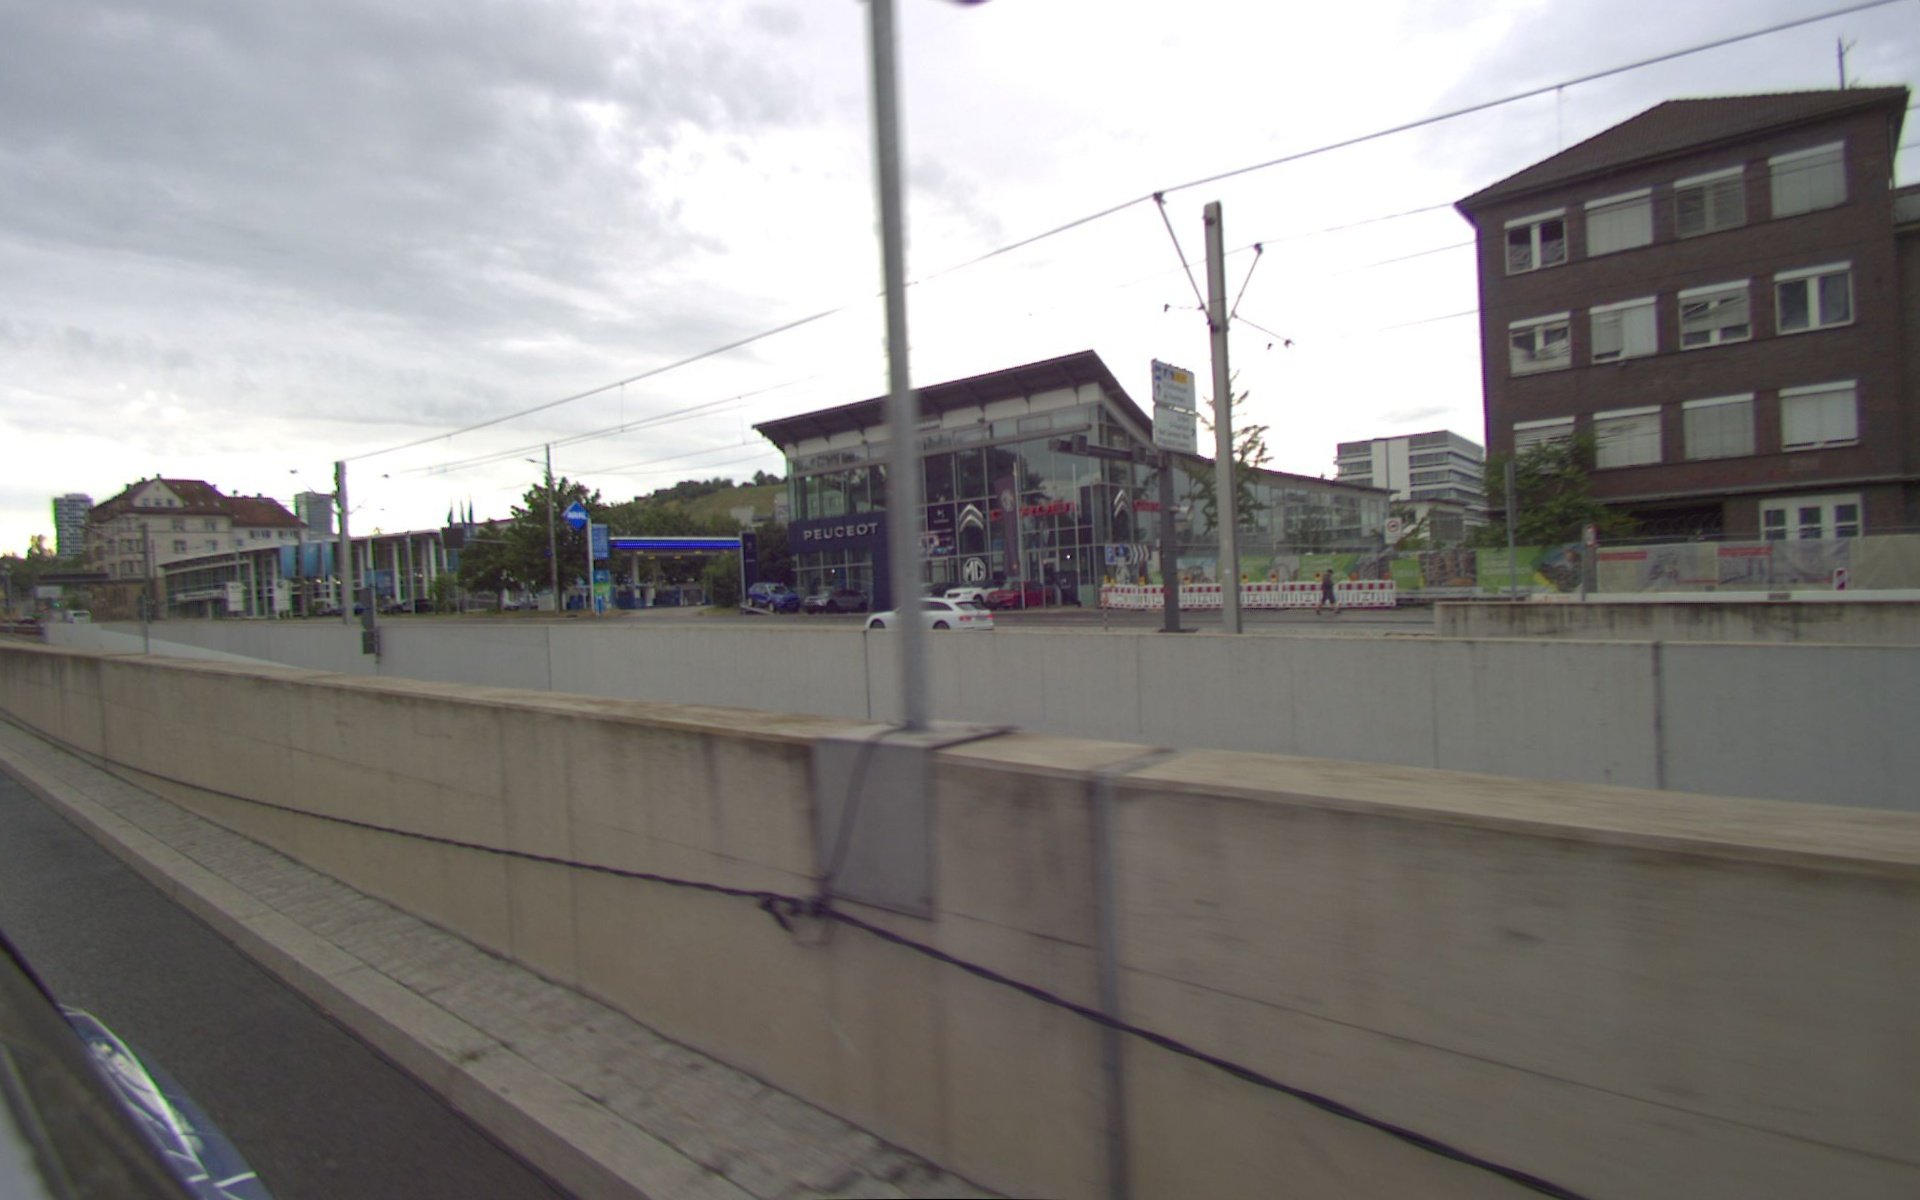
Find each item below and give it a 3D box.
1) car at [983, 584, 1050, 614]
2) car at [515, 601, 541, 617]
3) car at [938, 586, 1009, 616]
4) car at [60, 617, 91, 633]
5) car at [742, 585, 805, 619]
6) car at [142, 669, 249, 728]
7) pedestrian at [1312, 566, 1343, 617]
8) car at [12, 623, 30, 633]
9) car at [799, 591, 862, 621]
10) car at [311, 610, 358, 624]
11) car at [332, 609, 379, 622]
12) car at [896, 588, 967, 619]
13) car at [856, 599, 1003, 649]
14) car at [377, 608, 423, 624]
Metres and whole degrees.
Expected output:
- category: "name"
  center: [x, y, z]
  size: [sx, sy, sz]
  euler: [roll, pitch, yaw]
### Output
- category: "car"
  center: [2.809, -0.036, 49.622]
  size: [1.616, 1.392, 3.447]
  euler: [-2, -1, 37]
- category: "car"
  center: [-44.965, 0.929, 105.319]
  size: [2.798, 1.584, 1.368]
  euler: [-2, 1, 39]
- category: "car"
  center: [0.702, 0.029, 50.883]
  size: [1.749, 1.407, 3.444]
  euler: [-2, 0, 41]
- category: "car"
  center: [-105.223, 2.962, 120.378]
  size: [5.031, 1.708, 1.980]
  euler: [-2, 1, 40]
- category: "car"
  center: [-11.072, 0.070, 59.953]
  size: [1.740, 1.621, 4.074]
  euler: [-3, 7, -42]
- category: "car"
  center: [-25.065, 3.155, 33.136]
  size: [4.317, 1.585, 1.956]
  euler: [-2, 0, 41]
- category: "pedestrian"
  center: [13.102, -0.296, 36.097]
  size: [0.839, 1.763, 0.609]
  euler: [-2, 0, 41]
- category: "car"
  center: [-154.677, 4.675, 166.672]
  size: [4.337, 1.527, 1.724]
  euler: [-2, 0, 41]
- category: "car"
  center: [-7.315, 0.354, 57.268]
  size: [1.572, 1.413, 3.469]
  euler: [-3, -6, 37]
- category: "car"
  center: [-65.201, 1.775, 105.555]
  size: [1.690, 1.244, 3.974]
  euler: [-4, 0, 20]
- category: "car"
  center: [-62.501, 1.599, 104.701]
  size: [1.747, 1.244, 3.974]
  euler: [-1, 1, 20]
- category: "car"
  center: [-1.444, 0.154, 52.202]
  size: [1.749, 1.485, 3.444]
  euler: [-2, 0, 41]
- category: "car"
  center: [-1.102, 0.825, 34.478]
  size: [4.943, 1.527, 1.891]
  euler: [-2, 0, 38]
- category: "car"
  center: [-53.618, 1.517, 96.915]
  size: [1.717, 1.284, 3.476]
  euler: [-1, 1, 45]
